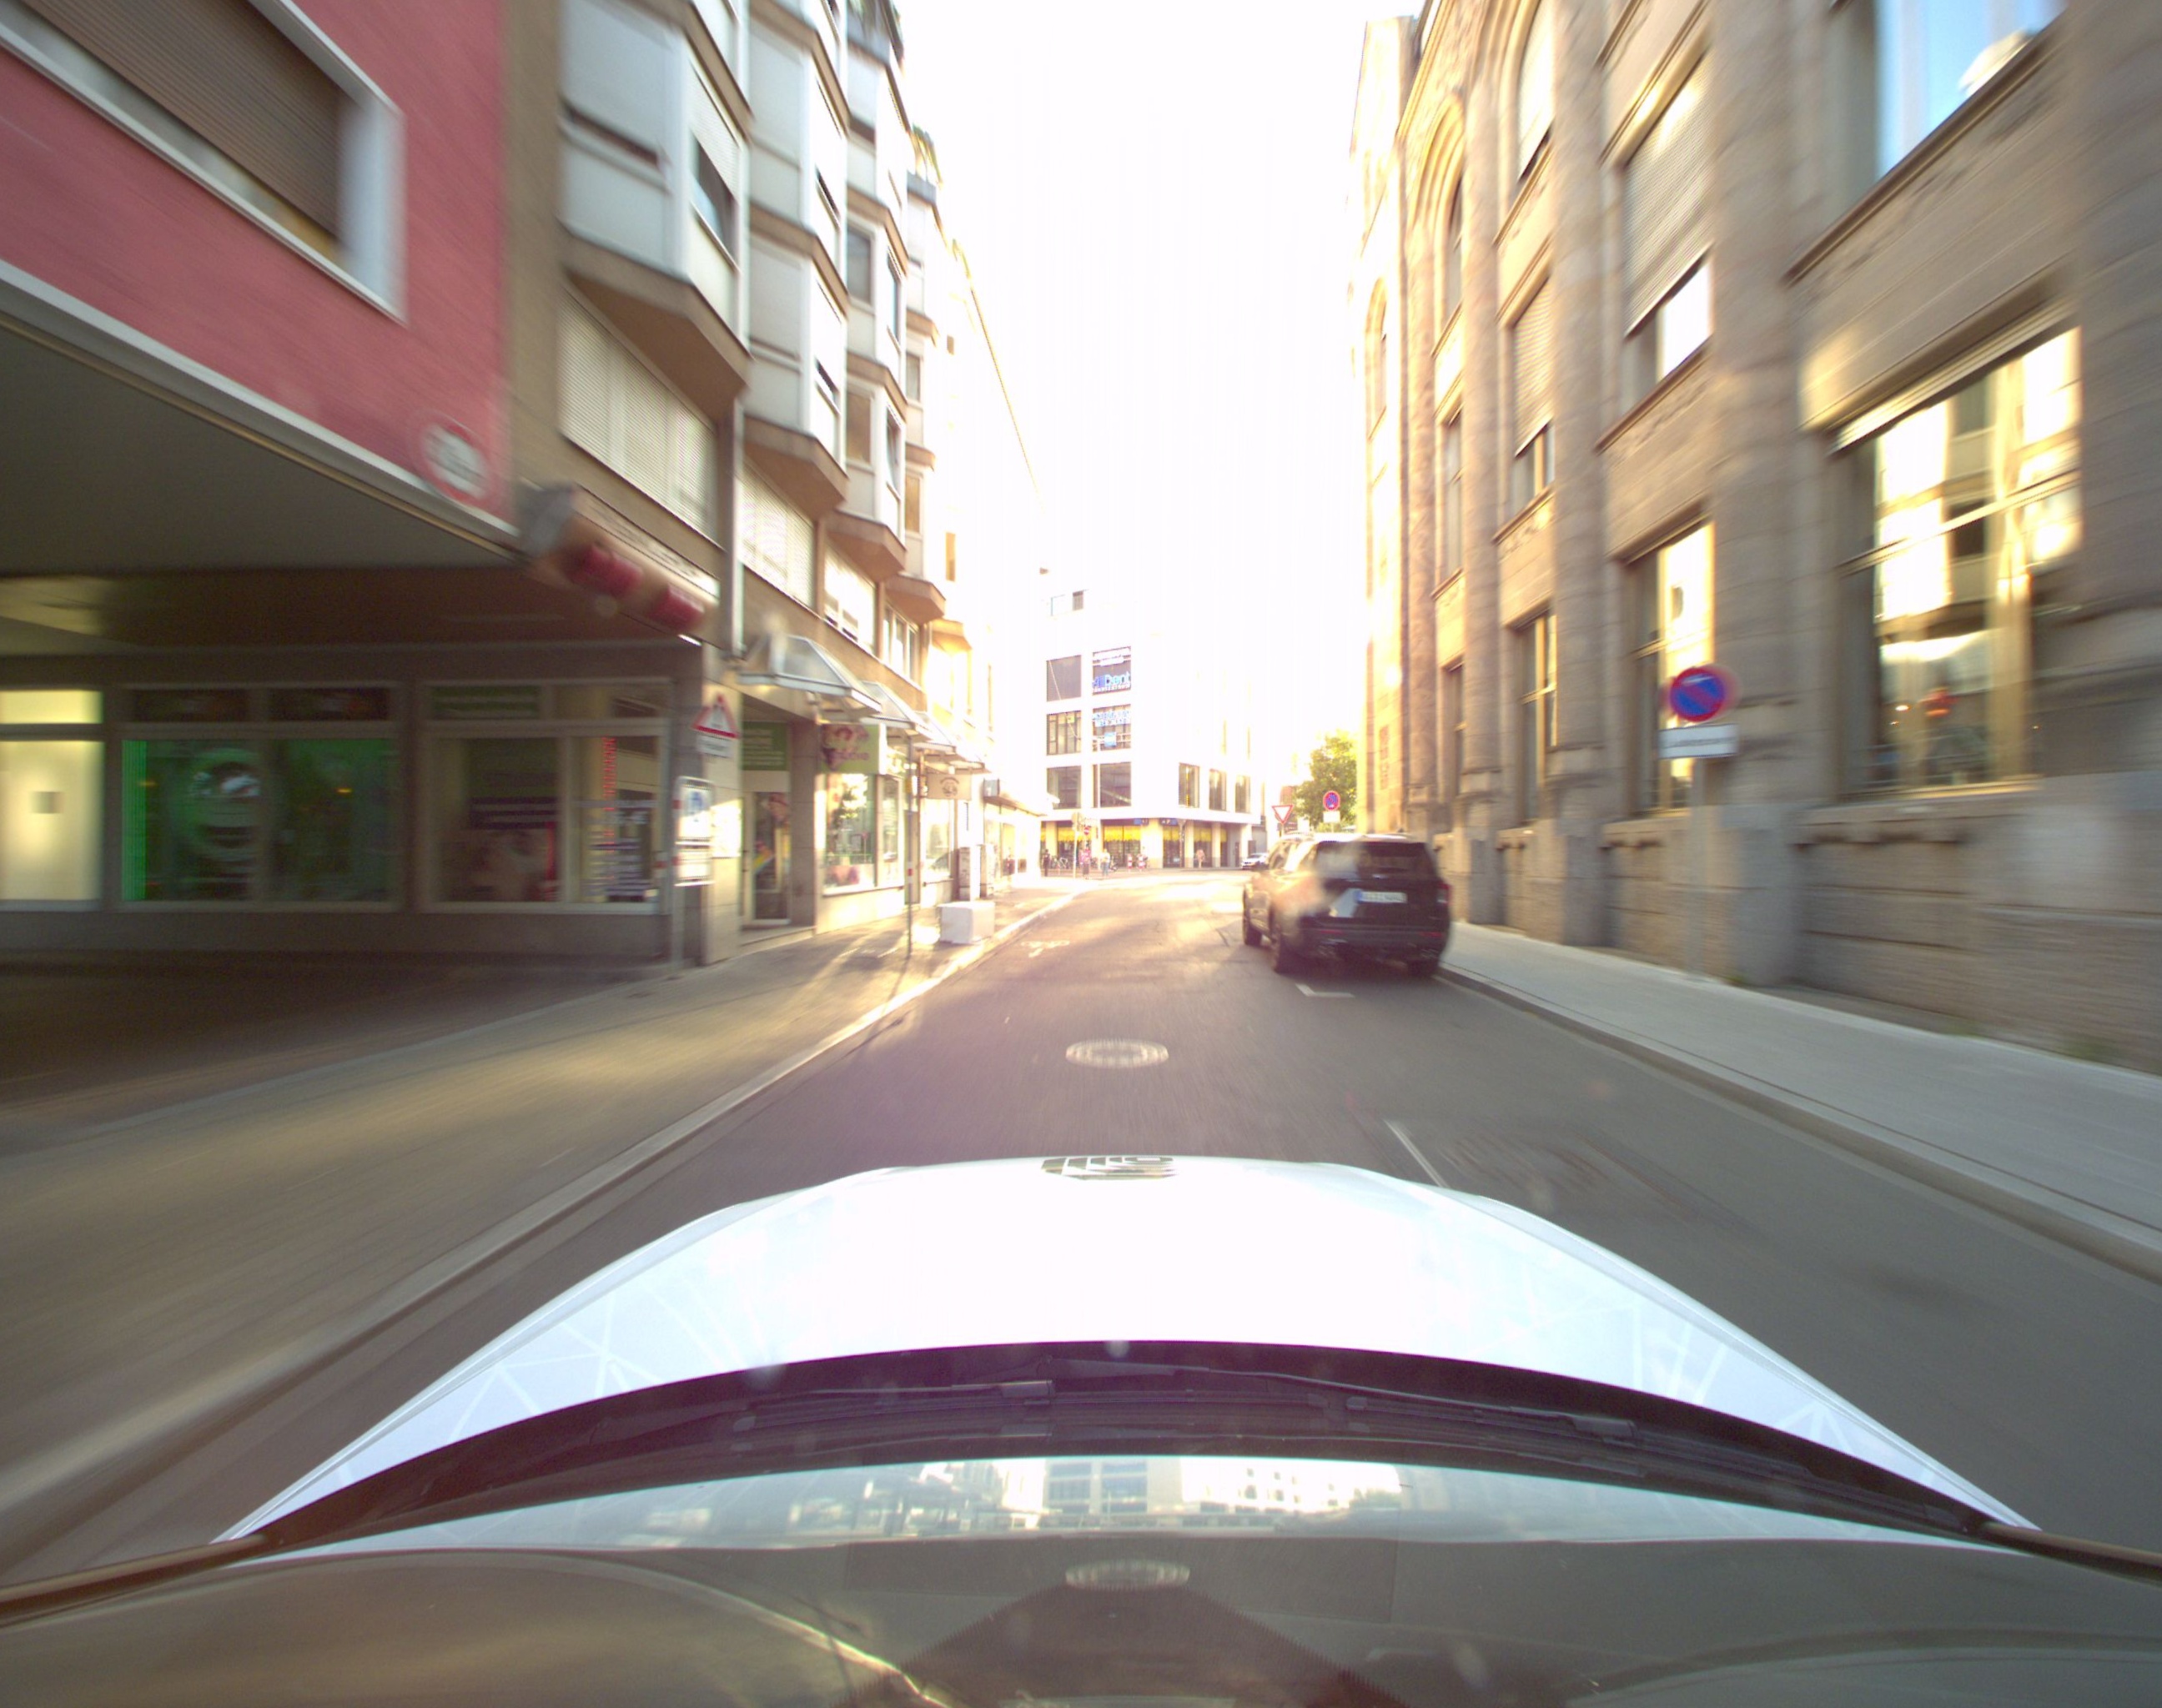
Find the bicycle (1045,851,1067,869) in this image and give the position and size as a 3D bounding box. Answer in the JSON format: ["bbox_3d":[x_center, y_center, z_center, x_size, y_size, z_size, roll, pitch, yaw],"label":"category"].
[{"bbox_3d":[-1.751,0.434,57.921,0.507,1.255,1.991,0,0,34],"label":"bicycle"}]

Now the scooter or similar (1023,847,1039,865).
[{"bbox_3d":[-3.449,0.148,56.210,0.383,1.260,1.279,0,-1,34],"label":"scooter or similar"}]

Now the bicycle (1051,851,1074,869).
[{"bbox_3d":[-1.304,0.438,57.574,0.507,1.255,1.991,0,0,34],"label":"bicycle"}]

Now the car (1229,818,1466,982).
[{"bbox_3d":[3.371,0.482,11.409,1.985,1.783,4.939,0,0,3],"label":"car"}]

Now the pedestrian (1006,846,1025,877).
[{"bbox_3d":[-3.425,0.406,42.658,0.727,1.613,0.808,0,0,15],"label":"pedestrian"}]

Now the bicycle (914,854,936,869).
[{"bbox_3d":[-13.200,0.613,68.800,1.953,1.255,0.516,0,-1,33],"label":"bicycle"}]

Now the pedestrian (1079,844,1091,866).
[{"bbox_3d":[0.320,0.067,63.117,0.637,1.723,0.840,0,0,-20],"label":"pedestrian"}]

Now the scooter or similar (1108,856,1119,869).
[{"bbox_3d":[2.276,0.618,56.874,0.383,0.884,0.775,0,-1,34],"label":"scooter or similar"}]

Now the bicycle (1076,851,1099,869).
[{"bbox_3d":[0.434,0.407,56.280,0.507,1.255,1.991,0,0,36],"label":"bicycle"}]

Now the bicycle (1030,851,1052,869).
[{"bbox_3d":[-2.890,0.424,58.845,0.507,1.255,1.991,0,0,34],"label":"bicycle"}]

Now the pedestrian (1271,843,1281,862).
[{"bbox_3d":[18.364,-0.142,76.649,0.665,1.836,0.651,0,0,33],"label":"pedestrian"}]

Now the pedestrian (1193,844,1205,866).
[{"bbox_3d":[9.452,0.049,65.184,0.665,1.744,0.651,0,0,36],"label":"pedestrian"}]

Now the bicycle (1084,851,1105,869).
[{"bbox_3d":[0.954,0.420,55.948,0.507,1.255,1.991,0,0,32],"label":"bicycle"}]

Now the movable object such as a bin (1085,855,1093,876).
[{"bbox_3d":[0.429,0.606,42.500,0.358,1.063,0.355,0,0,-6],"label":"movable object such as a bin"}]

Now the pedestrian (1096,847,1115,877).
[{"bbox_3d":[1.313,0.424,43.361,0.806,1.613,0.729,0,0,-25],"label":"pedestrian"}]

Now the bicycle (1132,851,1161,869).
[{"bbox_3d":[4.702,0.401,58.196,1.957,1.255,0.615,1,-1,17],"label":"bicycle"}]

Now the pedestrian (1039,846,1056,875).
[{"bbox_3d":[-1.927,0.398,47.133,0.870,1.658,0.616,0,0,-13],"label":"pedestrian"}]

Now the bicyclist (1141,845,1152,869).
[{"bbox_3d":[4.673,0.195,58.197,0.637,1.695,0.687,0,0,18],"label":"bicyclist"}]

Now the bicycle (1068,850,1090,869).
[{"bbox_3d":[-0.130,0.393,56.779,0.507,1.255,1.991,0,0,34],"label":"bicycle"}]

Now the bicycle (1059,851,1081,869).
[{"bbox_3d":[-0.753,0.397,57.245,0.507,1.255,1.991,0,0,33],"label":"bicycle"}]

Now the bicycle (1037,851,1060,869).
[{"bbox_3d":[-2.316,0.429,58.347,0.507,1.255,1.991,0,0,34],"label":"bicycle"}]

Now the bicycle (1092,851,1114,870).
[{"bbox_3d":[1.509,0.424,55.644,0.575,1.255,2.057,0,0,32],"label":"bicycle"}]

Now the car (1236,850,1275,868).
[{"bbox_3d":[14.776,0.396,68.874,1.760,1.453,4.257,0,0,34],"label":"car"}]

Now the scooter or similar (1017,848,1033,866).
[{"bbox_3d":[-3.888,0.218,56.593,0.383,1.212,1.279,0,-1,34],"label":"scooter or similar"}]

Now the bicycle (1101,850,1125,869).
[{"bbox_3d":[2.172,0.403,55.270,0.657,1.255,2.154,0,0,32],"label":"bicycle"}]

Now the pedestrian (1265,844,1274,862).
[{"bbox_3d":[17.801,-0.078,77.047,0.665,1.675,0.651,0,0,33],"label":"pedestrian"}]
